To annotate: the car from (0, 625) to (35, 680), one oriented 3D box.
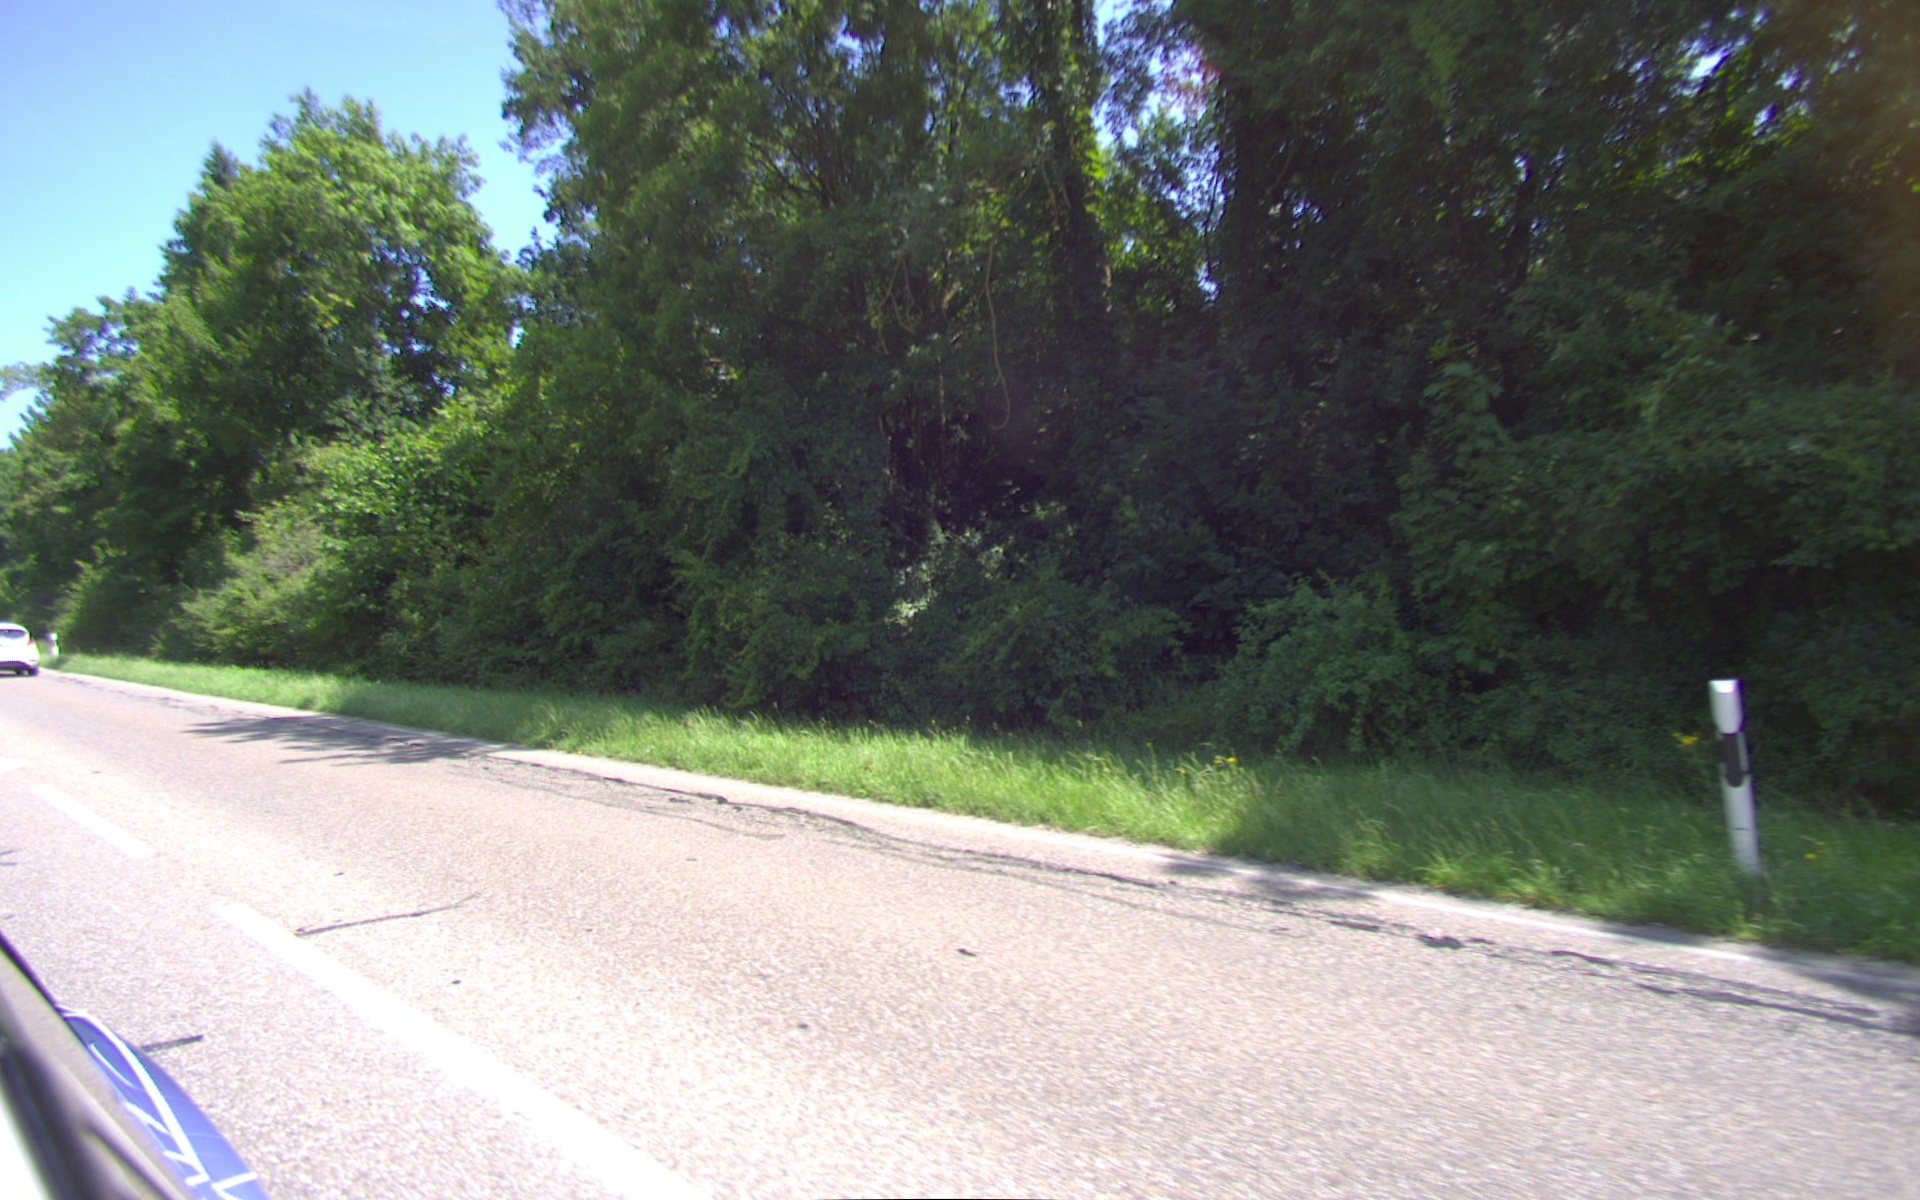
[{"bbox_3d":[-26.983,1.436,27.997,3.770,1.444,1.660,-1,-1,41],"label":"car"}]
